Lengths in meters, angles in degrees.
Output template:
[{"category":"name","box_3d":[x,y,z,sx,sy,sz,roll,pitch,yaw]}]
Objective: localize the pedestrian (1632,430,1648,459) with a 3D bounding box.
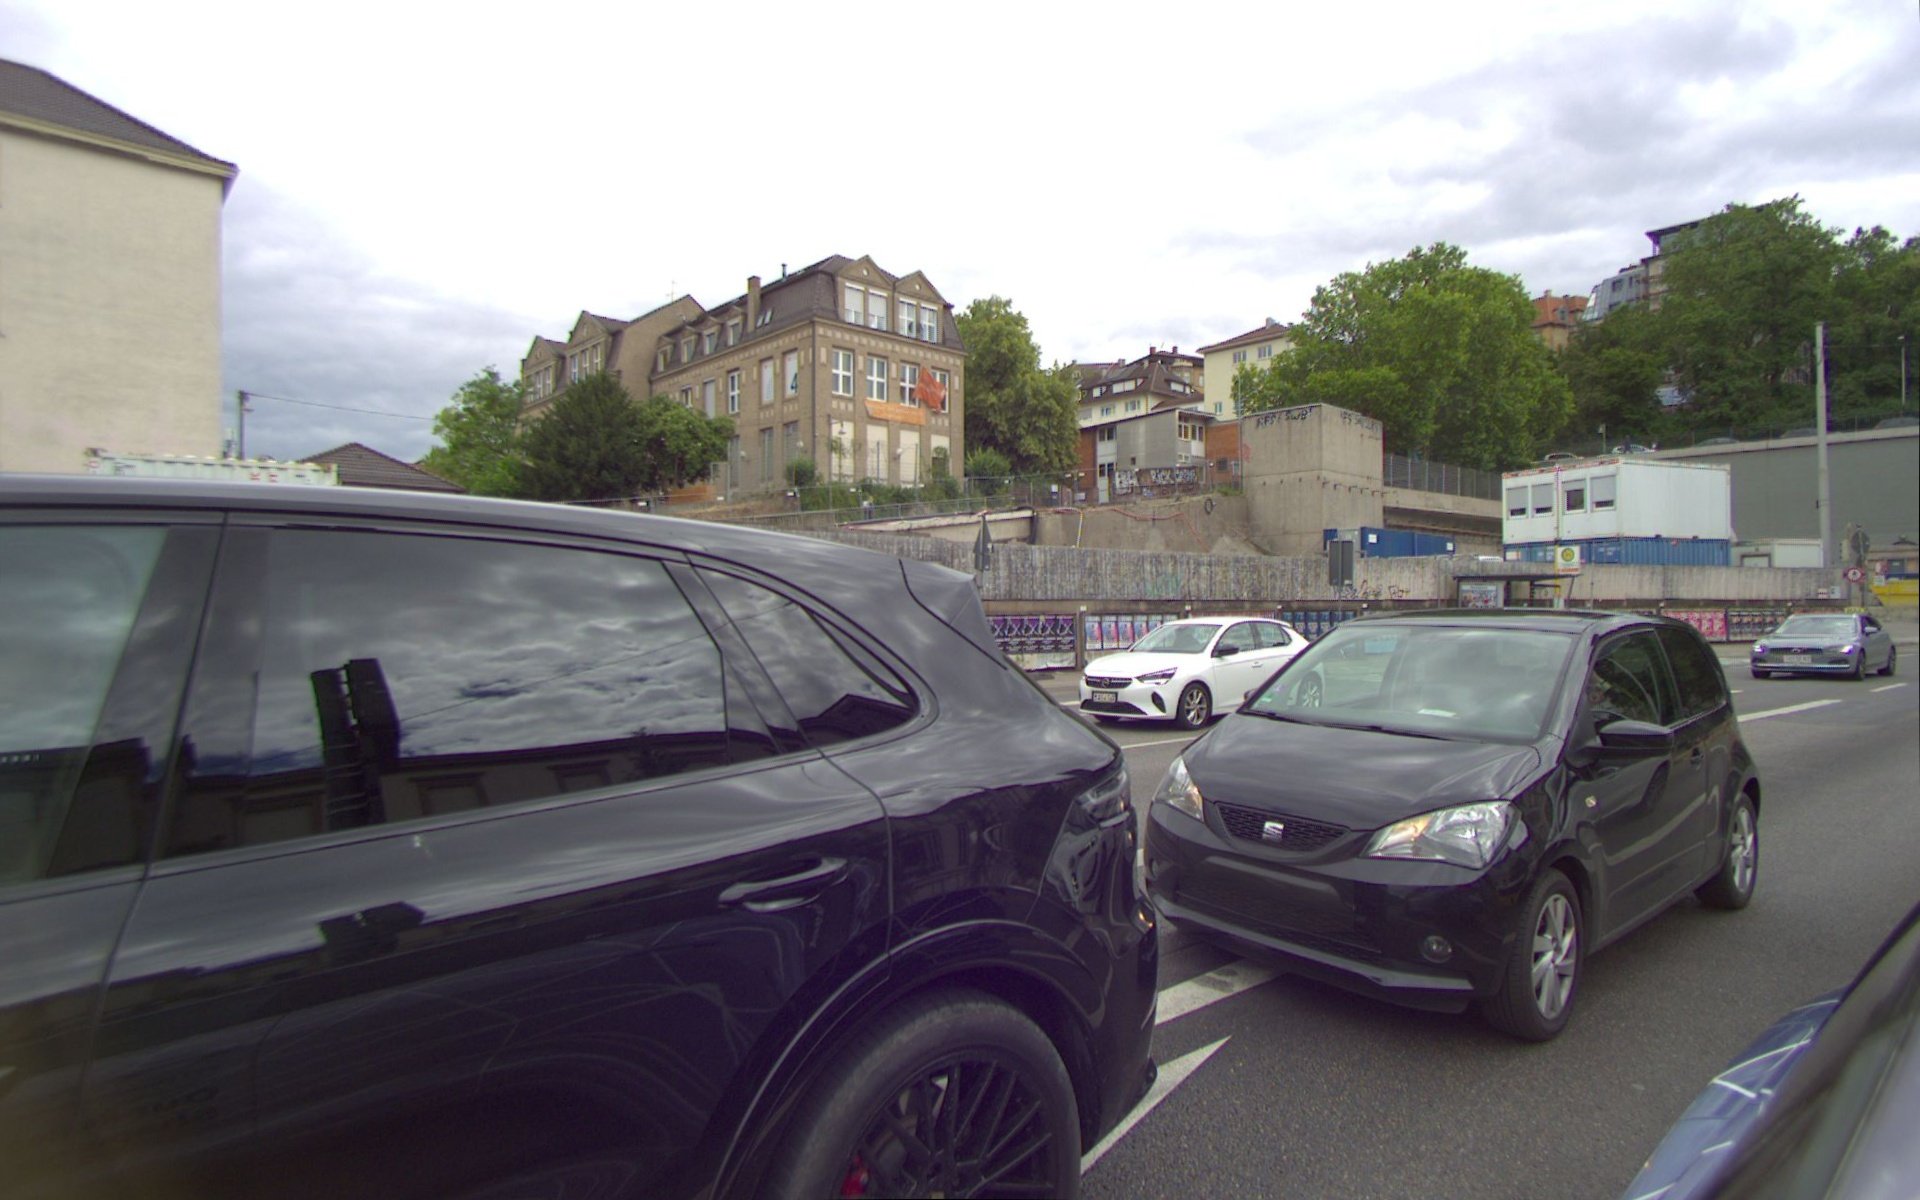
[{"category":"pedestrian","box_3d":[52.657,-12.055,78.392,0.891,2.039,0.849,0,-1,-45]}]

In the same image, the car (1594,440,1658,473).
[{"category":"car","box_3d":[53.561,-11.505,81.438,3.988,2.039,1.968,0,1,45]}]

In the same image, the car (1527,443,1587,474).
[{"category":"car","box_3d":[50.246,-11.912,85.227,3.988,2.039,1.968,0,1,45]}]

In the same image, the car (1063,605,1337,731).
[{"category":"car","box_3d":[3.432,0.833,14.153,3.927,1.498,1.663,0,-1,-38]}]

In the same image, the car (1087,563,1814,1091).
[{"category":"car","box_3d":[2.521,0.657,4.786,3.812,1.515,1.667,0,-1,-40]}]

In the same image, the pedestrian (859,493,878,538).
[{"category":"pedestrian","box_3d":[-4.356,-4.000,48.007,0.656,2.039,0.644,0,0,-45]}]

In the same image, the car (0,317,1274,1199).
[{"category":"car","box_3d":[-1.628,0.581,1.700,4.552,1.707,1.959,0,-1,-40]}]

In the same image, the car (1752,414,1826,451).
[{"category":"car","box_3d":[60.611,-12.220,74.014,1.966,2.039,3.991,0,1,-43]}]

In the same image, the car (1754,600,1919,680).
[{"category":"car","box_3d":[19.627,0.807,22.604,4.567,1.591,1.827,0,0,-36]}]

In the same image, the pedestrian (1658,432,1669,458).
[{"category":"pedestrian","box_3d":[56.358,-12.416,81.078,0.568,2.039,0.580,0,0,-44]}]

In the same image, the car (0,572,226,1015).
[{"category":"car","box_3d":[-4.889,0.690,3.418,3.812,1.563,1.667,0,-1,-40]}]

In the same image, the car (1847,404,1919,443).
[{"category":"car","box_3d":[64.150,-12.191,70.047,1.966,2.039,3.991,0,1,-43]}]
